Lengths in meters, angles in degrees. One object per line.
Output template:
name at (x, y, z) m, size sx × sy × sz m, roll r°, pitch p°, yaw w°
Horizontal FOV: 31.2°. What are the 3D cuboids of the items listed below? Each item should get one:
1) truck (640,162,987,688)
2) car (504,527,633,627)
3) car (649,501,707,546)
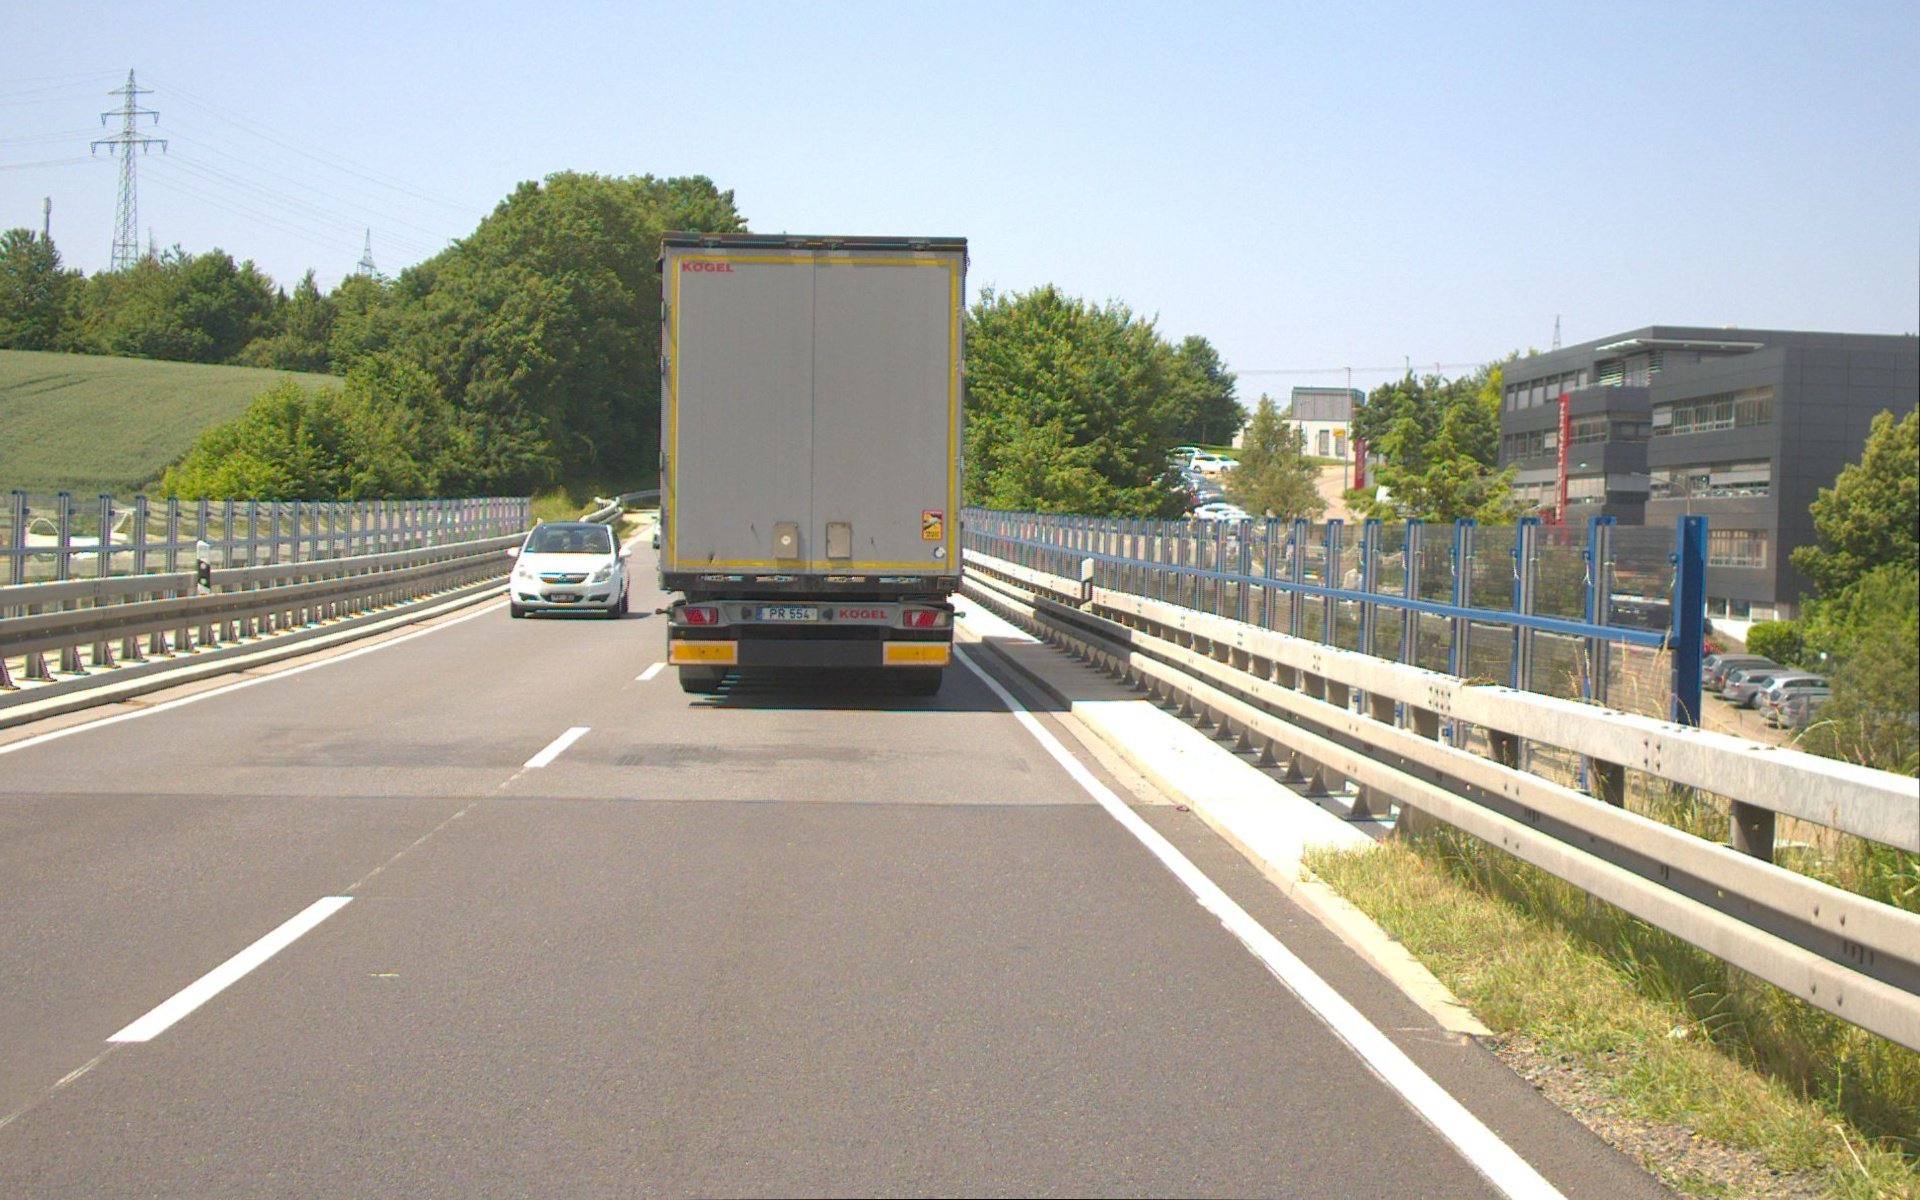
truck at (-1.502, -1.482, 33.373) m, size 2.865 × 4.344 × 9.790 m, roll 0°, pitch 0°, yaw -3°
car at (-6.102, -0.382, 53.929) m, size 1.707 × 1.500 × 4.119 m, roll 0°, pitch 1°, yaw -2°
car at (-9.221, -2.518, 112.680) m, size 1.781 × 1.431 × 4.835 m, roll 0°, pitch 1°, yaw -3°
